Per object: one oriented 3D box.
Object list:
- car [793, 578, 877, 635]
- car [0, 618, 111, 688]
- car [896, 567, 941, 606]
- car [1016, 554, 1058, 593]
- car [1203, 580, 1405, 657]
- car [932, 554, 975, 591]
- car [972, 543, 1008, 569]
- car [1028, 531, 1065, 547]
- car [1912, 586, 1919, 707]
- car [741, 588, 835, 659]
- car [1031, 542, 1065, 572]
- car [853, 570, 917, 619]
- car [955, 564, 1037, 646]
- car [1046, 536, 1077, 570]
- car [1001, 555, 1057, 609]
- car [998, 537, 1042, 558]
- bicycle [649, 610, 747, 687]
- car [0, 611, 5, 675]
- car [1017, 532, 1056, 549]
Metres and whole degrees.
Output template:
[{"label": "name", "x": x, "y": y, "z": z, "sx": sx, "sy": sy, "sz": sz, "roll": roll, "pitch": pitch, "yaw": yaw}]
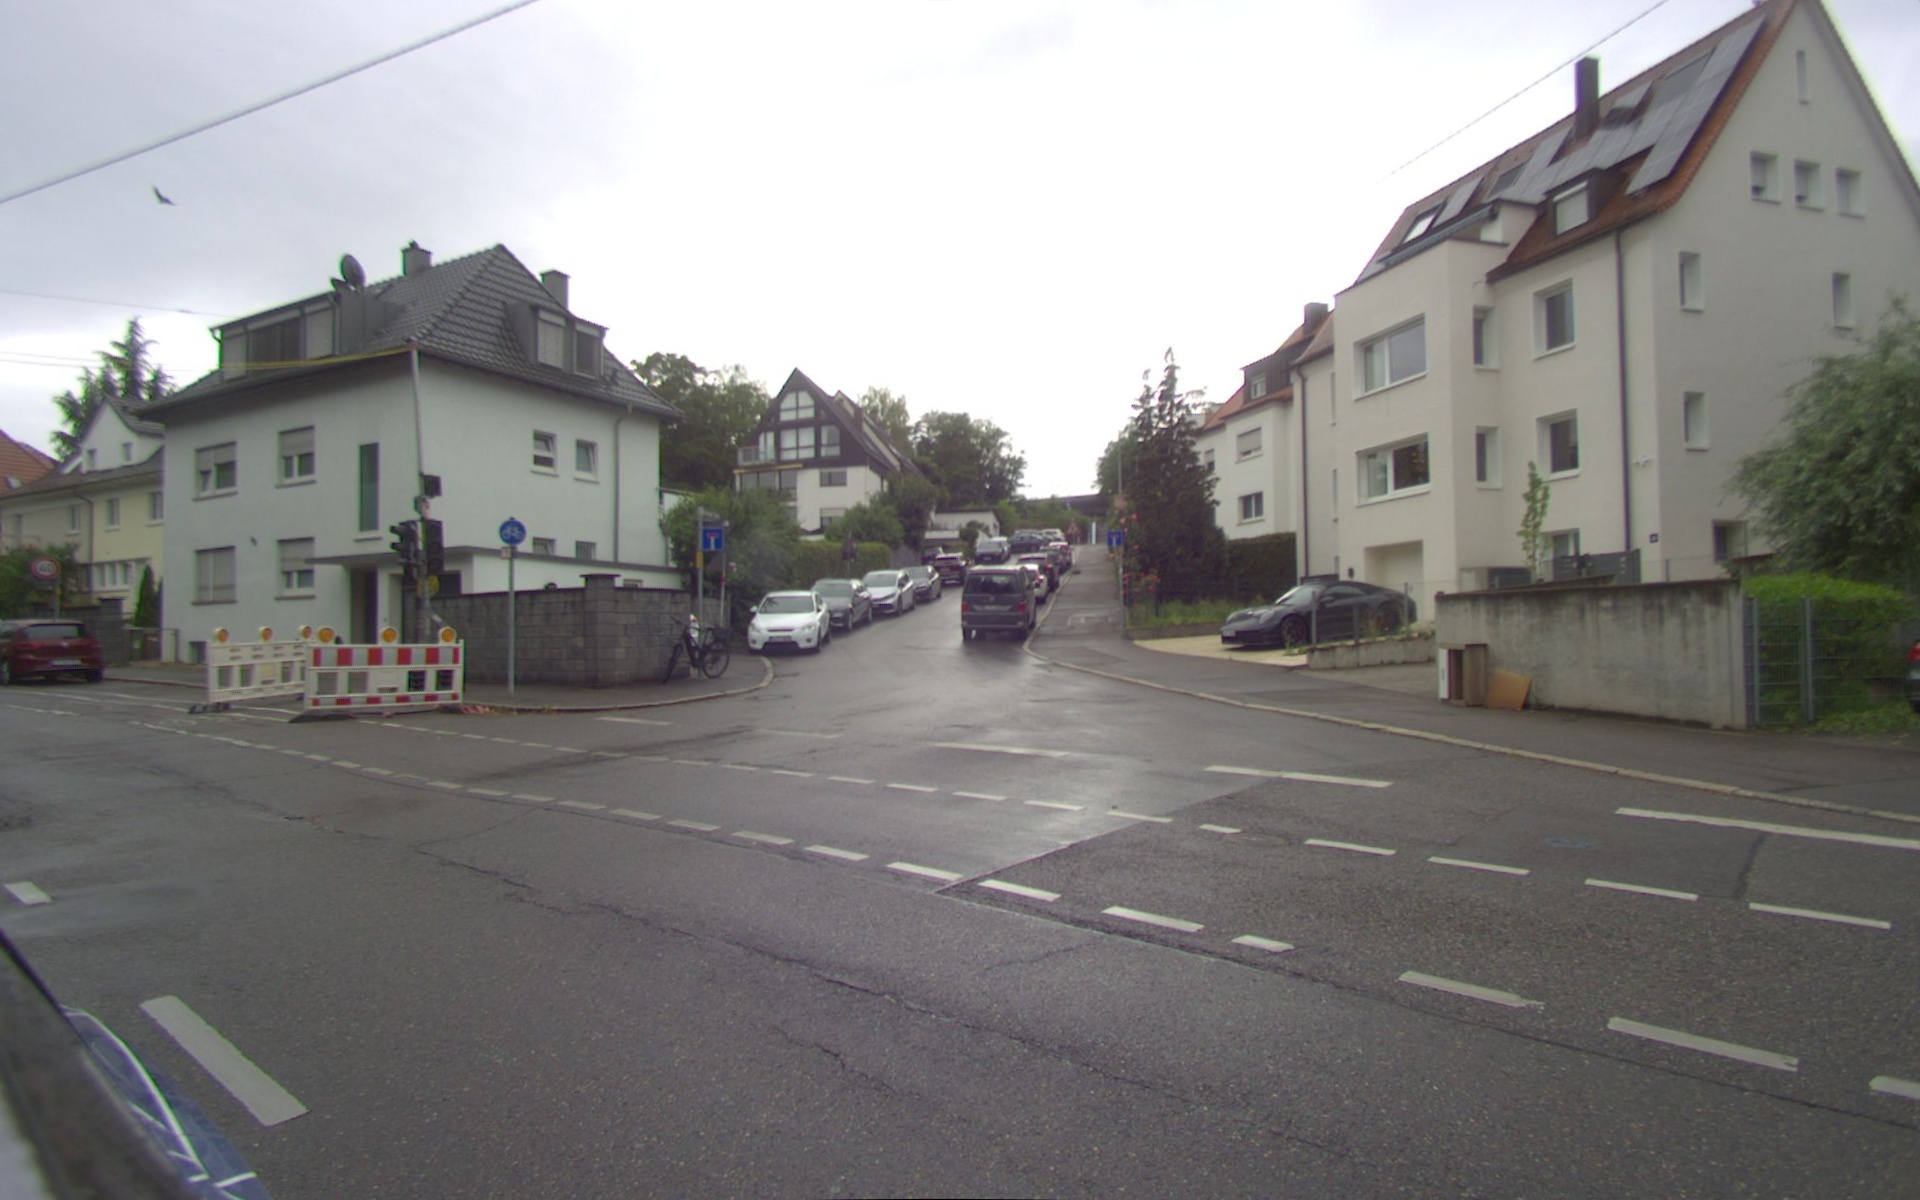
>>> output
[{"label": "car", "x": -3.871, "y": 0.164, "z": 31.909, "sx": 1.684, "sy": 1.476, "sz": 3.847, "roll": -2, "pitch": 3, "yaw": 7}, {"label": "car", "x": -21.583, "y": 1.248, "z": 23.454, "sx": 3.785, "sy": 1.505, "sz": 1.878, "roll": -3, "pitch": -3, "yaw": 33}, {"label": "car", "x": -1.721, "y": -0.604, "z": 42.628, "sx": 1.320, "sy": 1.400, "sz": 3.497, "roll": -1, "pitch": 5, "yaw": 7}, {"label": "car", "x": 3.474, "y": -1.217, "z": 45.401, "sx": 1.565, "sy": 1.479, "sz": 3.553, "roll": -1, "pitch": 5, "yaw": 9}, {"label": "car", "x": 7.435, "y": 0.372, "z": 21.935, "sx": 3.857, "sy": 1.342, "sz": 1.572, "roll": -4, "pitch": 1, "yaw": -16}, {"label": "car", "x": -0.294, "y": -1.445, "z": 52.221, "sx": 1.323, "sy": 1.566, "sz": 3.971, "roll": -1, "pitch": 6, "yaw": 13}, {"label": "car", "x": 2.081, "y": -3.021, "z": 68.927, "sx": 1.720, "sy": 1.510, "sz": 3.817, "roll": -1, "pitch": 6, "yaw": 13}, {"label": "car", "x": 8.884, "y": -6.247, "z": 103.800, "sx": 3.492, "sy": 1.510, "sz": 1.614, "roll": -1, "pitch": 6, "yaw": 18}, {"label": "car", "x": 10.667, "y": 0.458, "z": 8.571, "sx": 4.193, "sy": 1.378, "sz": 1.617, "roll": -3, "pitch": -1, "yaw": -12}, {"label": "car", "x": -4.319, "y": 0.547, "z": 25.920, "sx": 1.726, "sy": 1.476, "sz": 3.561, "roll": -2, "pitch": 3, "yaw": 0}, {"label": "car", "x": 5.101, "y": -2.527, "z": 58.423, "sx": 1.677, "sy": 1.479, "sz": 3.553, "roll": -1, "pitch": 5, "yaw": 9}, {"label": "car", "x": -2.698, "y": -0.230, "z": 37.053, "sx": 1.564, "sy": 1.476, "sz": 3.848, "roll": -1, "pitch": 5, "yaw": 7}, {"label": "car", "x": 1.114, "y": 0.074, "z": 29.054, "sx": 1.893, "sy": 1.950, "sz": 3.789, "roll": -1, "pitch": 5, "yaw": 9}, {"label": "car", "x": 6.353, "y": -2.936, "z": 62.863, "sx": 1.677, "sy": 1.871, "sz": 3.553, "roll": -1, "pitch": 5, "yaw": 9}, {"label": "car", "x": 2.761, "y": -0.749, "z": 39.981, "sx": 1.900, "sy": 1.850, "sz": 3.406, "roll": -1, "pitch": 5, "yaw": 9}, {"label": "car", "x": 4.997, "y": -4.370, "z": 83.861, "sx": 3.572, "sy": 1.510, "sz": 1.578, "roll": -2, "pitch": 5, "yaw": 7}, {"label": "bicycle", "x": -4.806, "y": 0.864, "z": 18.640, "sx": 0.705, "sy": 1.321, "sz": 1.713, "roll": -1, "pitch": 0, "yaw": 33}, {"label": "car", "x": -26.177, "y": 1.179, "z": 25.868, "sx": 3.993, "sy": 1.601, "sz": 1.652, "roll": -3, "pitch": -1, "yaw": 33}, {"label": "car", "x": 7.492, "y": -5.837, "z": 98.851, "sx": 3.489, "sy": 1.510, "sz": 1.616, "roll": -1, "pitch": 6, "yaw": 16}]
